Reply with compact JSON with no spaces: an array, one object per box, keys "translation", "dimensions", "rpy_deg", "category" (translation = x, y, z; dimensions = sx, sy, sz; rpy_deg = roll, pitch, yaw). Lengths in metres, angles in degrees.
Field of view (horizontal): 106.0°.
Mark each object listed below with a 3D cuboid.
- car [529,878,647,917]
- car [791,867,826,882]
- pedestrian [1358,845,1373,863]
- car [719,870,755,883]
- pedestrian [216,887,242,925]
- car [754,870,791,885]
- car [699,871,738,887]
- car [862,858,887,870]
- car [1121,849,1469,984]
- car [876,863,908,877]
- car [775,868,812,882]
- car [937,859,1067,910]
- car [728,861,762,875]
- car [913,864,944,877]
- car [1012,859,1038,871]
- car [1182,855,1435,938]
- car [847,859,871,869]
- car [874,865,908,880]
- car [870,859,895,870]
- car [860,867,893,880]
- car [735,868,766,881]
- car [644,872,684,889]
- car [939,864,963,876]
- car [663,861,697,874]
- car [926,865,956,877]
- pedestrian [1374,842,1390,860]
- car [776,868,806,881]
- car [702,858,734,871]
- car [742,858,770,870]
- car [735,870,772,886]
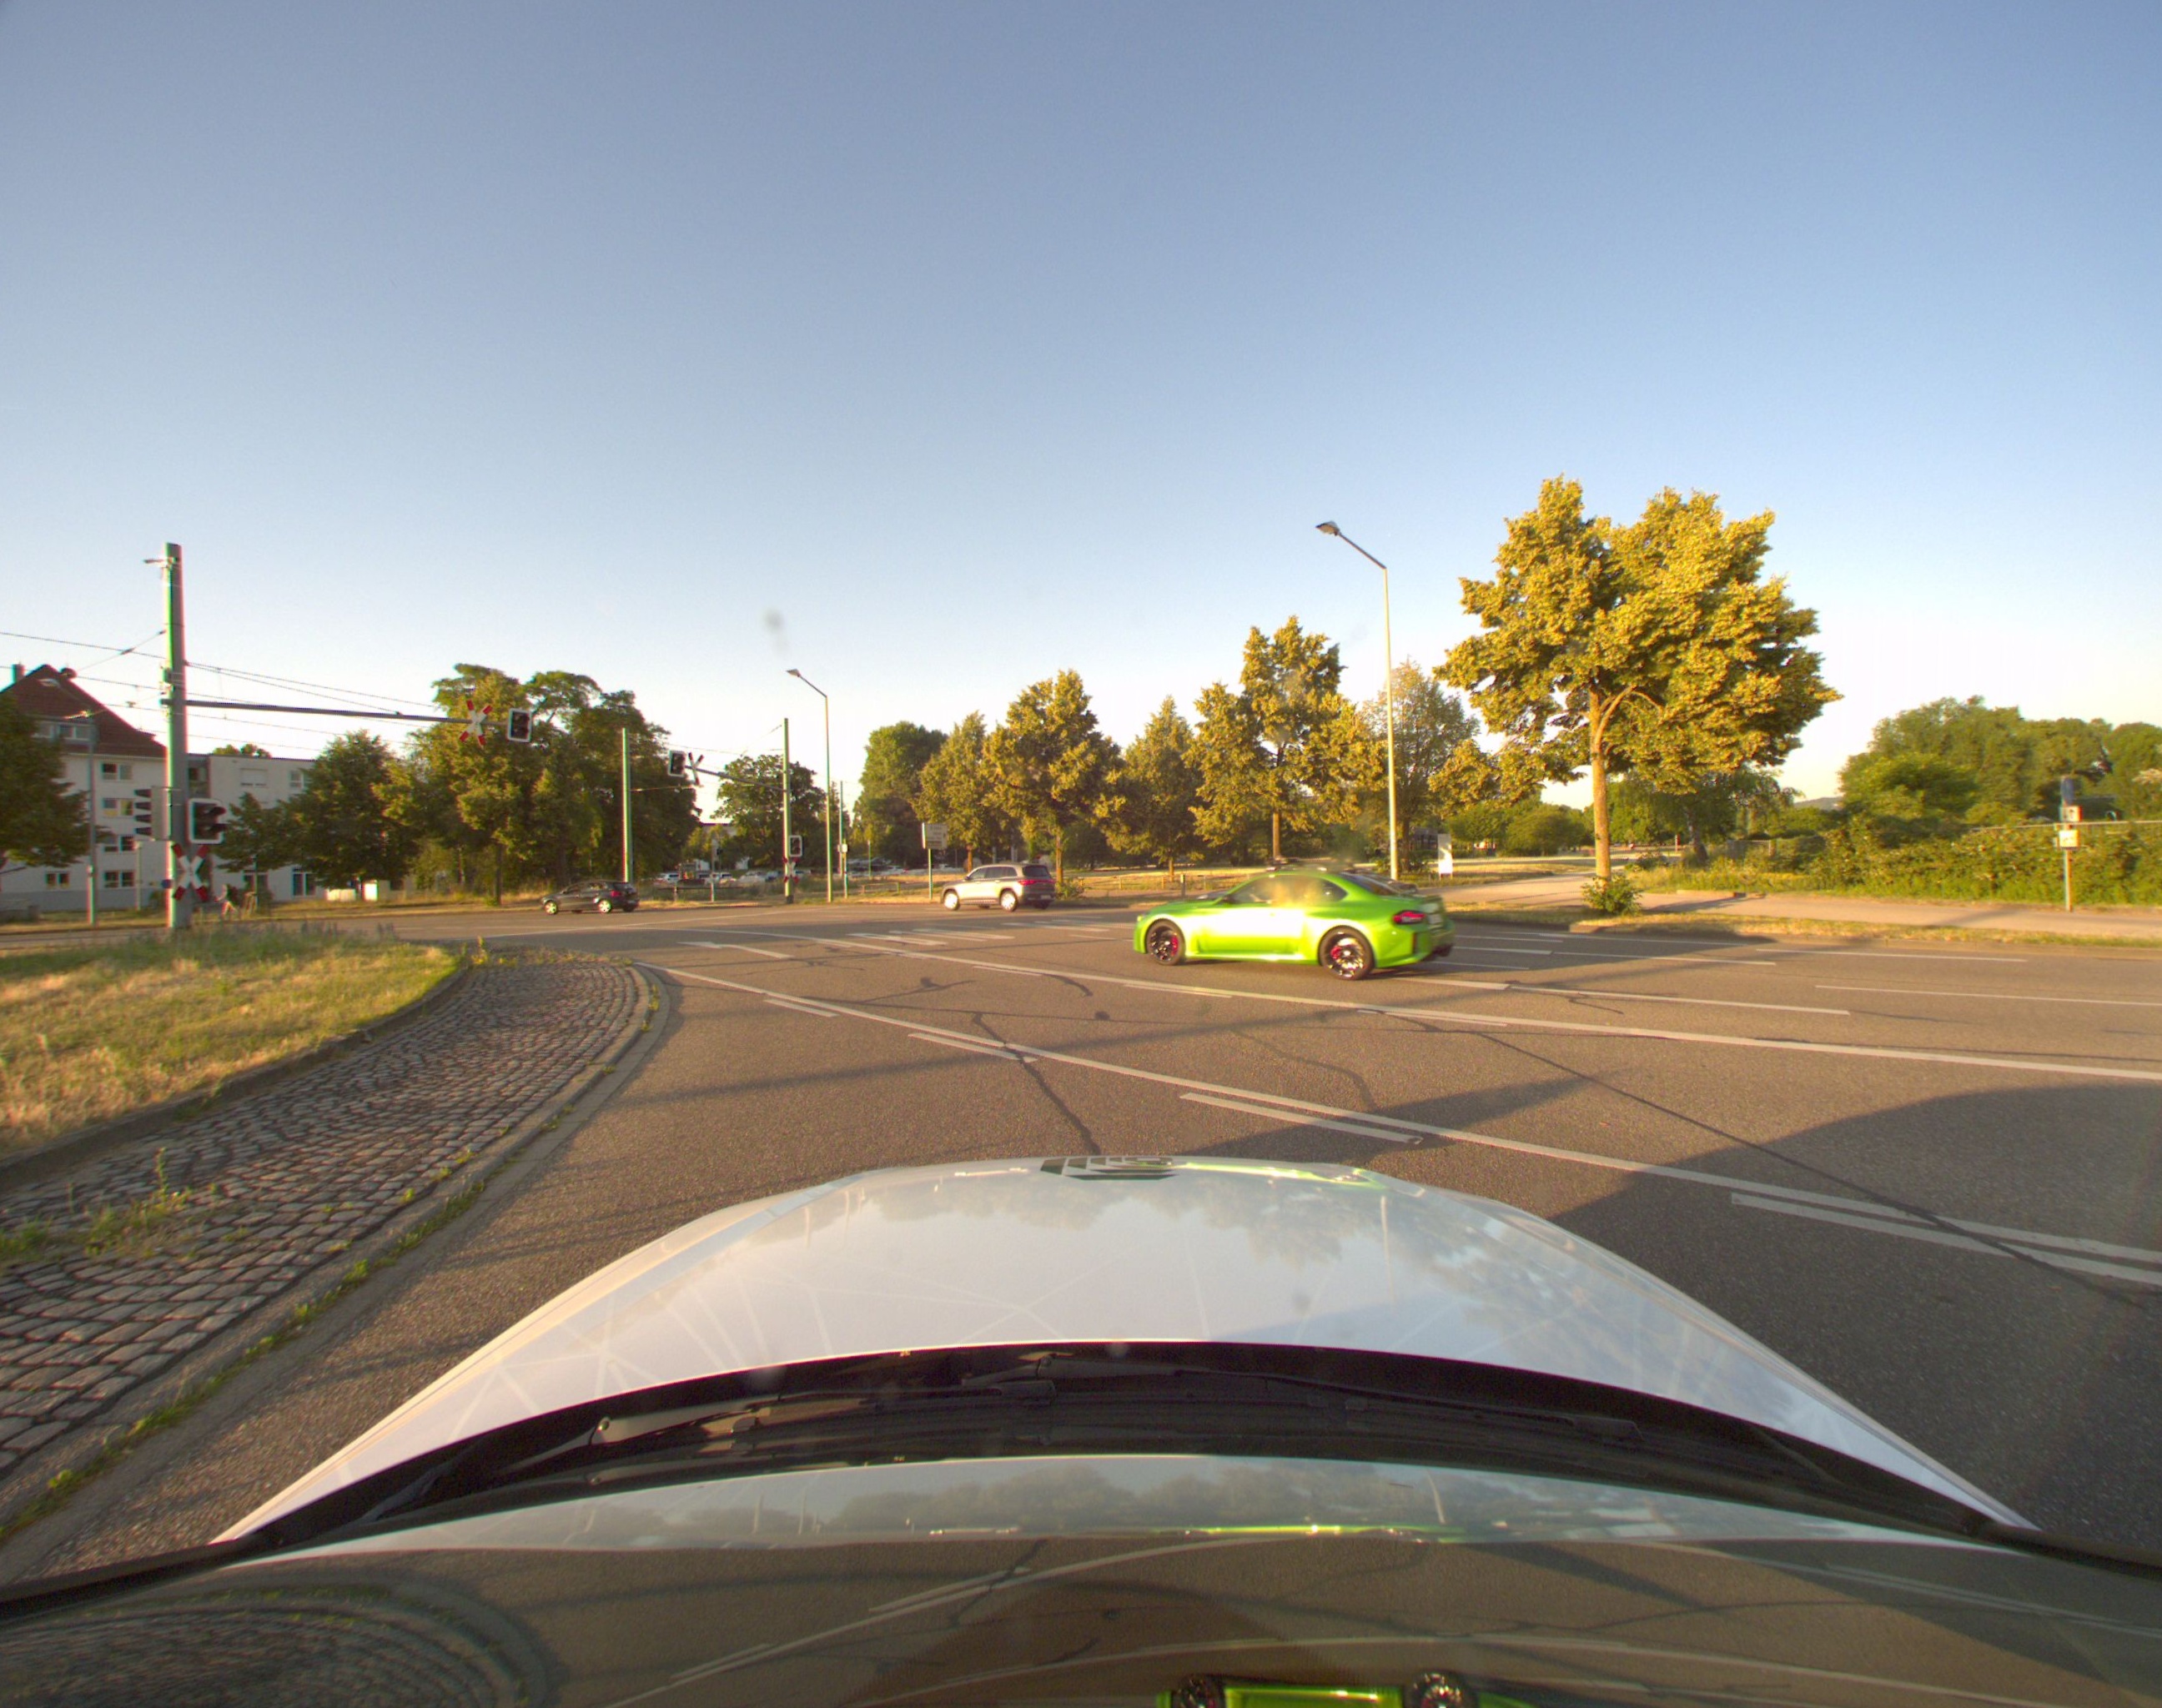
[{"translation":[-20.972,1.836,34.711],"dimensions":[3.969,1.354,1.697],"rpy_deg":[-2,2,4],"category":"car"},{"translation":[-32.634,2.468,97.611],"dimensions":[3.948,1.604,2.013],"rpy_deg":[-2,0,34],"category":"car"},{"translation":[26.208,0.028,74.964],"dimensions":[1.064,1.617,0.911],"rpy_deg":[-2,0,4],"category":"pedestrian"},{"translation":[-46.114,3.025,109.144],"dimensions":[1.878,1.662,4.026],"rpy_deg":[-2,0,37],"category":"car"},{"translation":[-43.718,2.667,41.801],"dimensions":[0.666,1.893,0.619],"rpy_deg":[0,-1,-4],"category":"pedestrian"},{"translation":[-35.506,2.717,93.672],"dimensions":[3.948,1.604,2.013],"rpy_deg":[-2,0,34],"category":"car"},{"translation":[-39.020,2.693,87.542],"dimensions":[3.948,1.604,2.013],"rpy_deg":[-2,0,34],"category":"car"},{"translation":[-37.962,1.791,150.043],"dimensions":[1.975,2.013,4.025],"rpy_deg":[-2,0,42],"category":"car"},{"translation":[2.994,0.787,11.882],"dimensions":[4.427,1.579,2.013],"rpy_deg":[-2,0,39],"category":"car"},{"translation":[-29.379,2.425,126.700],"dimensions":[4.578,2.013,1.995],"rpy_deg":[-2,0,-7],"category":"car"},{"translation":[-33.699,2.457,95.431],"dimensions":[3.948,1.604,2.013],"rpy_deg":[-2,0,34],"category":"car"},{"translation":[-2.853,1.059,28.859],"dimensions":[4.467,1.637,2.013],"rpy_deg":[-2,0,40],"category":"car"},{"translation":[-51.884,2.135,125.803],"dimensions":[1.974,2.013,4.627],"rpy_deg":[-2,0,32],"category":"car"},{"translation":[-21.468,2.324,114.788],"dimensions":[3.948,1.604,2.013],"rpy_deg":[-2,0,34],"category":"car"},{"translation":[-7.956,1.532,115.265],"dimensions":[1.748,1.618,3.954],"rpy_deg":[-1,0,-39],"category":"car"},{"translation":[4.583,0.816,16.797],"dimensions":[4.610,1.464,1.899],"rpy_deg":[-2,0,39],"category":"car"},{"translation":[-41.751,1.901,153.022],"dimensions":[1.974,1.816,4.026],"rpy_deg":[-2,0,37],"category":"car"},{"translation":[-27.652,2.694,118.513],"dimensions":[4.578,2.013,1.995],"rpy_deg":[-2,0,-7],"category":"car"},{"translation":[-35.685,1.901,146.437],"dimensions":[3.964,1.706,2.005],"rpy_deg":[-2,0,8],"category":"car"},{"translation":[-26.671,2.492,105.988],"dimensions":[3.948,1.604,2.013],"rpy_deg":[-2,0,34],"category":"car"},{"translation":[-46.229,2.795,113.944],"dimensions":[4.005,1.662,1.984],"rpy_deg":[-2,0,-24],"category":"car"},{"translation":[-42.651,2.685,83.325],"dimensions":[3.948,1.604,2.013],"rpy_deg":[-2,0,34],"category":"car"},{"translation":[-20.842,2.538,129.990],"dimensions":[2.008,1.752,4.549],"rpy_deg":[-1,1,-35],"category":"car"},{"translation":[-65.666,2.247,133.322],"dimensions":[1.974,2.013,4.627],"rpy_deg":[-2,0,32],"category":"car"},{"translation":[-19.993,2.381,116.483],"dimensions":[3.948,1.604,2.013],"rpy_deg":[-2,0,34],"category":"car"},{"translation":[27.198,-0.294,73.615],"dimensions":[1.064,1.617,0.911],"rpy_deg":[-2,0,4],"category":"pedestrian"},{"translation":[-41.300,2.893,115.996],"dimensions":[4.001,1.662,1.889],"rpy_deg":[-2,0,-20],"category":"car"},{"translation":[-61.927,1.803,139.062],"dimensions":[1.974,2.013,4.628],"rpy_deg":[-2,0,36],"category":"car"},{"translation":[-57.840,1.819,144.933],"dimensions":[1.974,2.013,4.143],"rpy_deg":[-2,0,36],"category":"car"},{"translation":[-37.051,2.715,92.062],"dimensions":[3.948,1.604,2.013],"rpy_deg":[-2,0,34],"category":"car"}]
